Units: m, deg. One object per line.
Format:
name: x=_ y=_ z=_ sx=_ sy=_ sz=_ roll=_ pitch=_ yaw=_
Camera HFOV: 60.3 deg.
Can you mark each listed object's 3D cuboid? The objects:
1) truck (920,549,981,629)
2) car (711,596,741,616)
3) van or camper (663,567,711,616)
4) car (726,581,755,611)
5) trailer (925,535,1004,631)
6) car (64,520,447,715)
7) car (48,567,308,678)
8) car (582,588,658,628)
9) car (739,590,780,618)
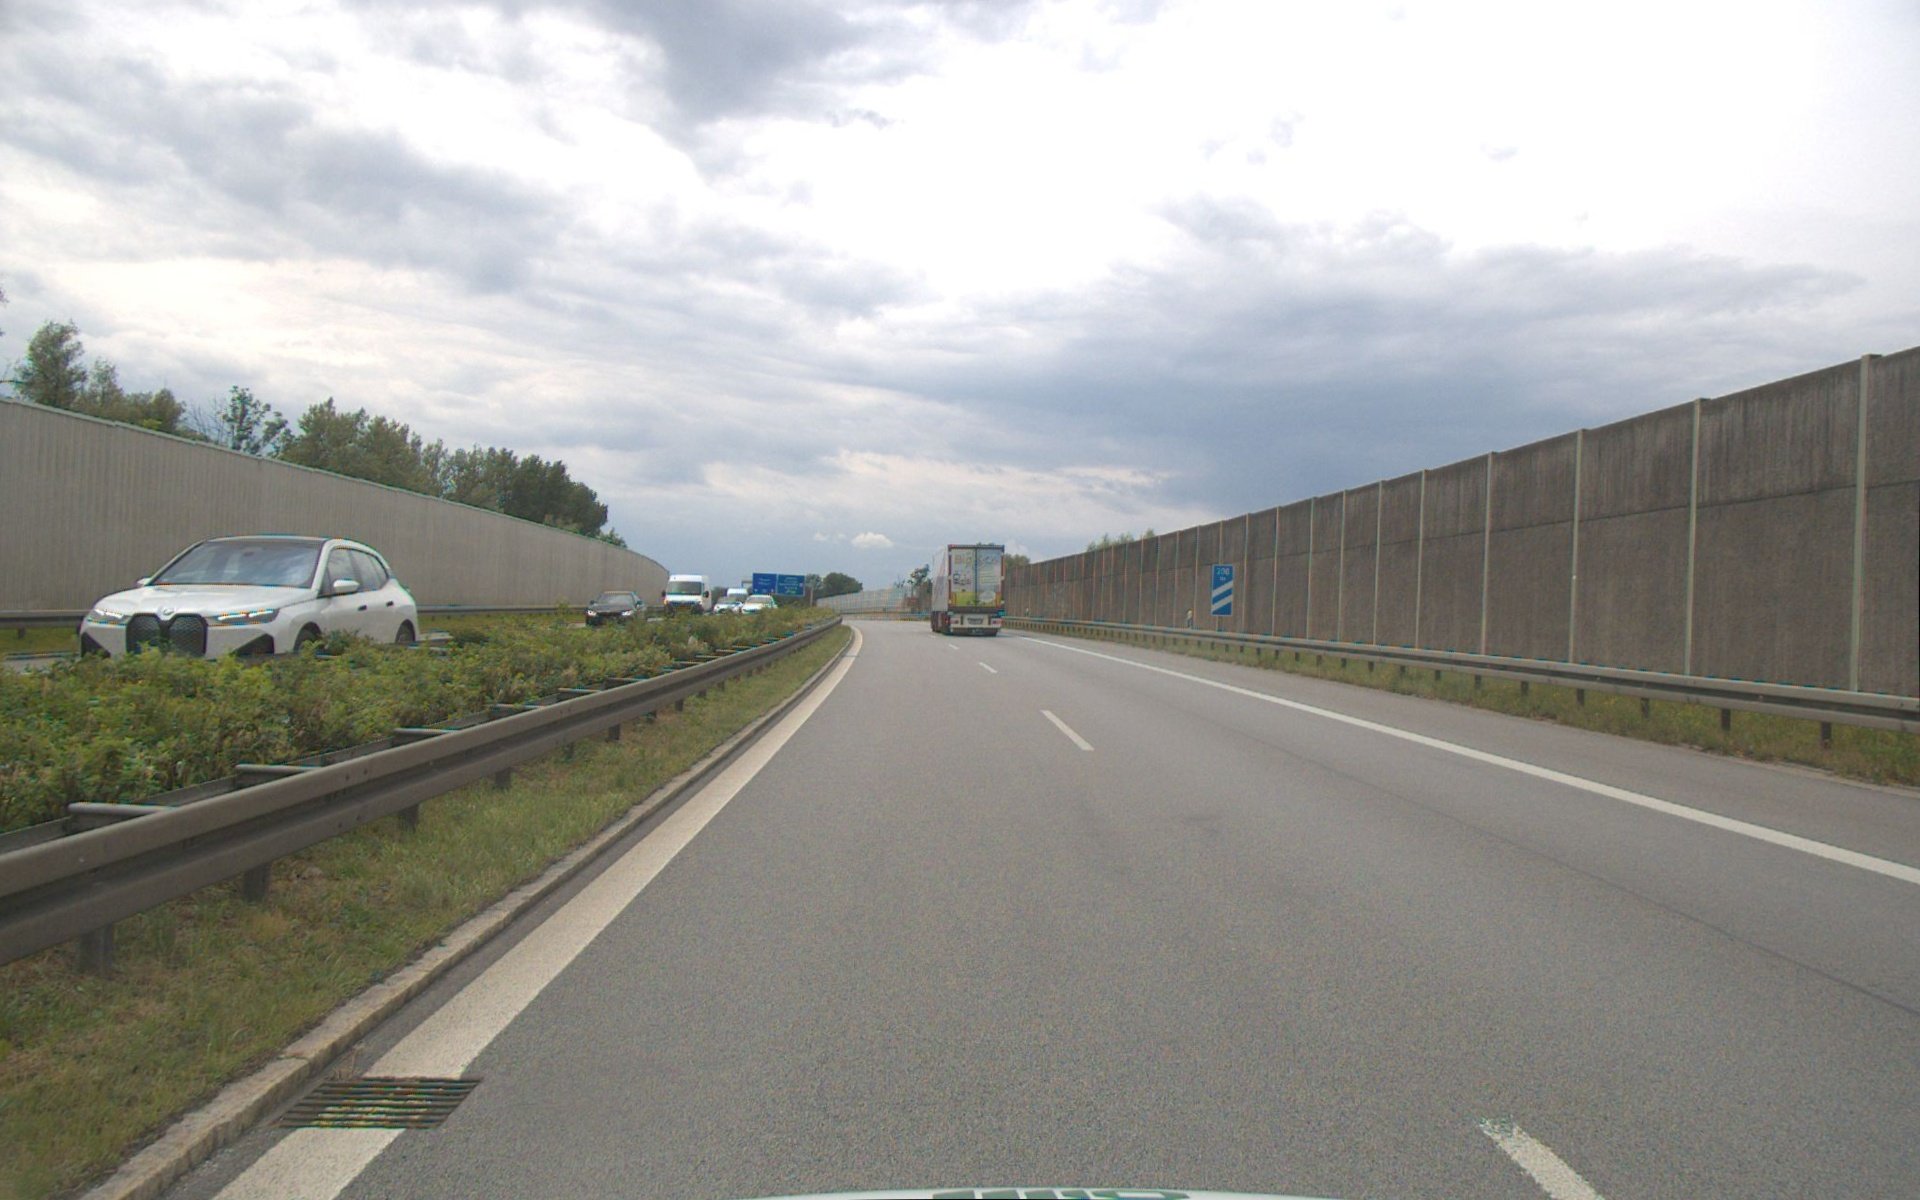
truck: x=-0.553 y=-0.548 z=87.364 sx=2.703 sy=4.029 sz=5.669 roll=1 pitch=-1 yaw=-6
car: x=-17.028 y=0.449 z=120.471 sx=1.827 sy=1.427 sz=4.496 roll=0 pitch=0 yaw=-4
van or camper: x=-14.191 y=-0.445 z=86.292 sx=1.954 sy=2.484 sz=6.303 roll=0 pitch=0 yaw=-4
car: x=-18.777 y=-0.355 z=141.442 sx=2.070 sy=2.498 sz=5.679 roll=0 pitch=0 yaw=-4
trailer: x=0.060 y=-0.678 z=80.690 sx=2.738 sy=4.248 sz=14.090 roll=1 pitch=-1 yaw=-4
car: x=-7.071 y=0.156 z=17.277 sx=1.924 sy=1.699 sz=4.923 roll=2 pitch=0 yaw=-1
car: x=-11.135 y=0.291 z=23.924 sx=1.687 sy=1.442 sz=4.553 roll=0 pitch=0 yaw=-2
car: x=-12.617 y=0.276 z=61.653 sx=1.953 sy=1.388 sz=4.965 roll=1 pitch=0 yaw=-2
car: x=-11.005 y=0.205 z=91.069 sx=1.769 sy=1.439 sz=4.965 roll=1 pitch=0 yaw=-2
